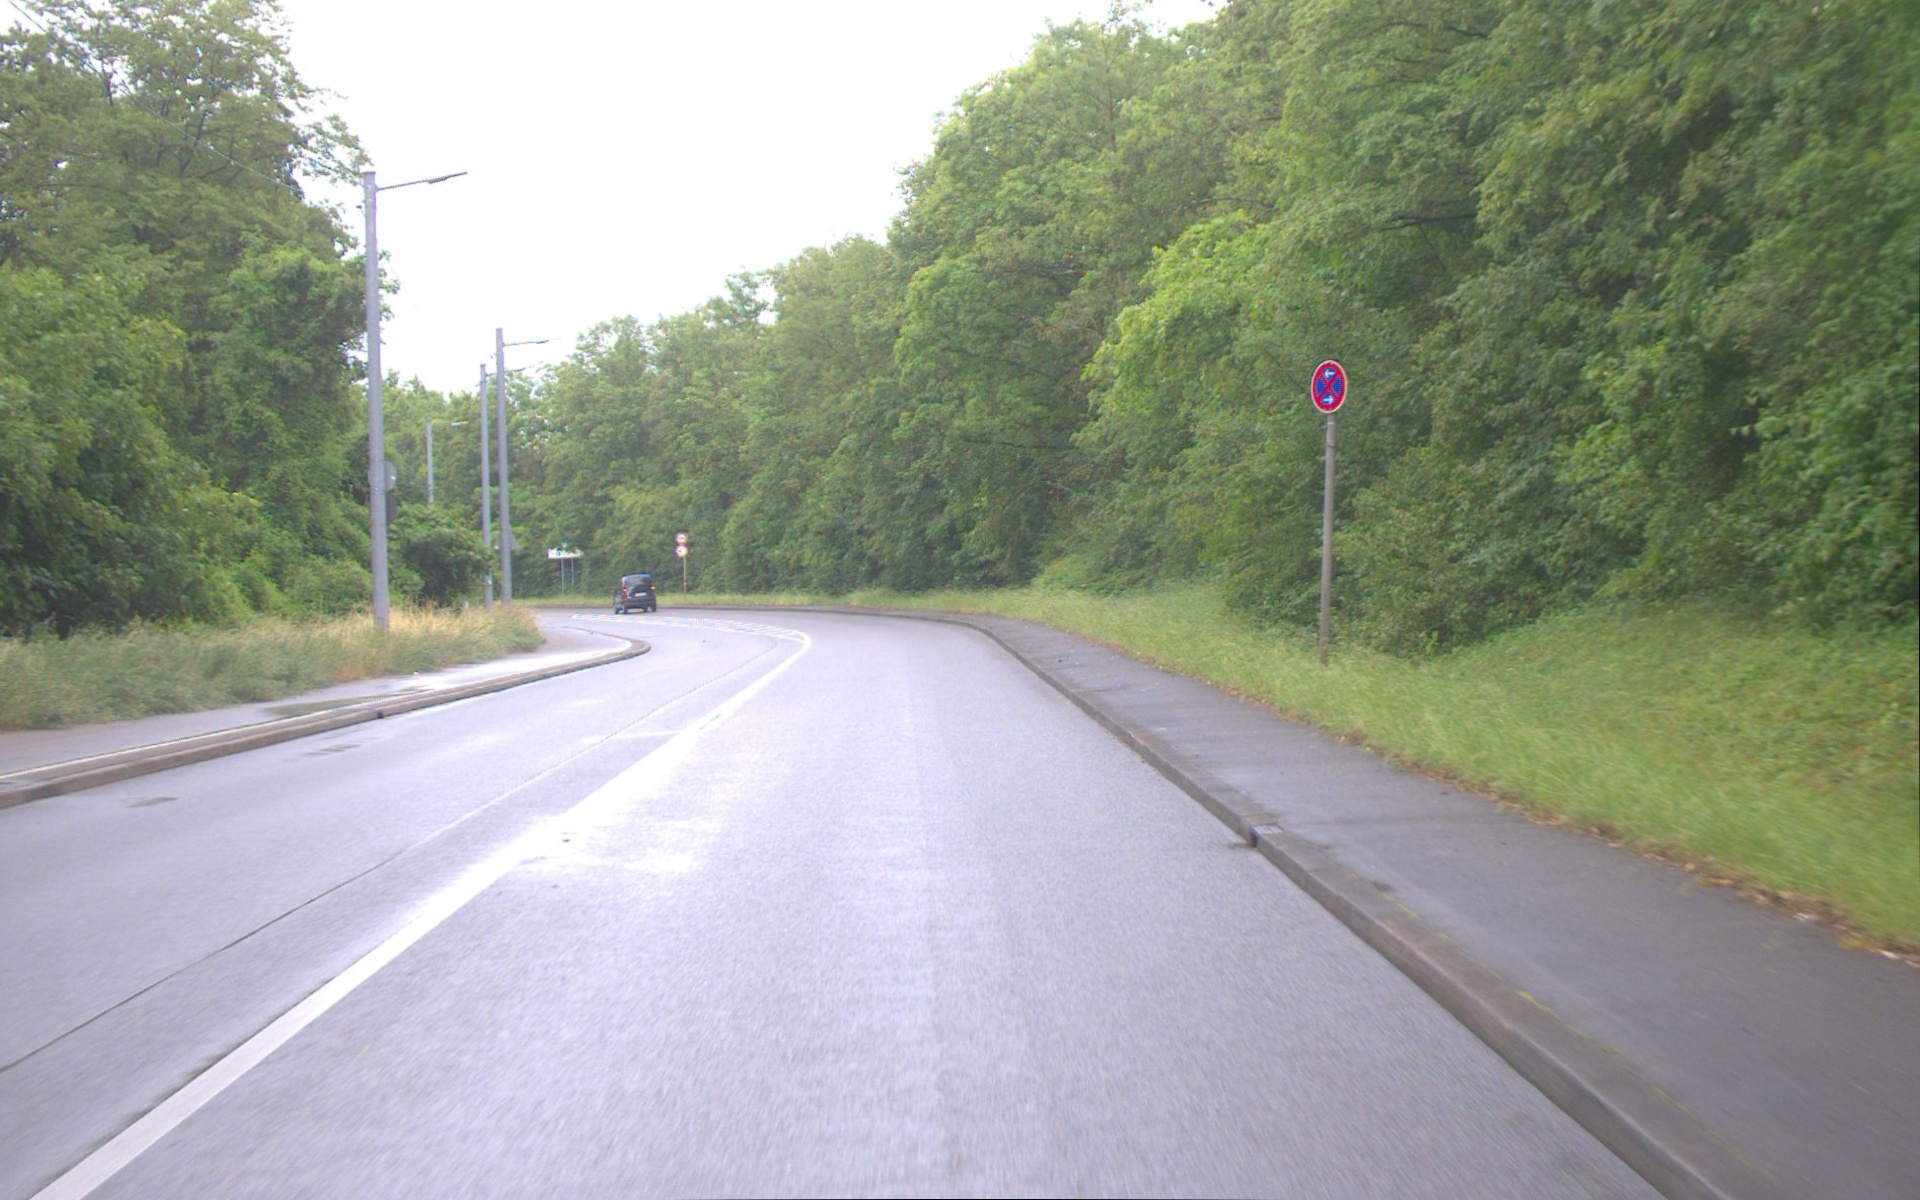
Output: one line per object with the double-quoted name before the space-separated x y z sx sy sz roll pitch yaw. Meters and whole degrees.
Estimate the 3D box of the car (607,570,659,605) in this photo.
"car" -15.978 -0.609 167.825 1.867 1.590 4.001 3 0 -14
